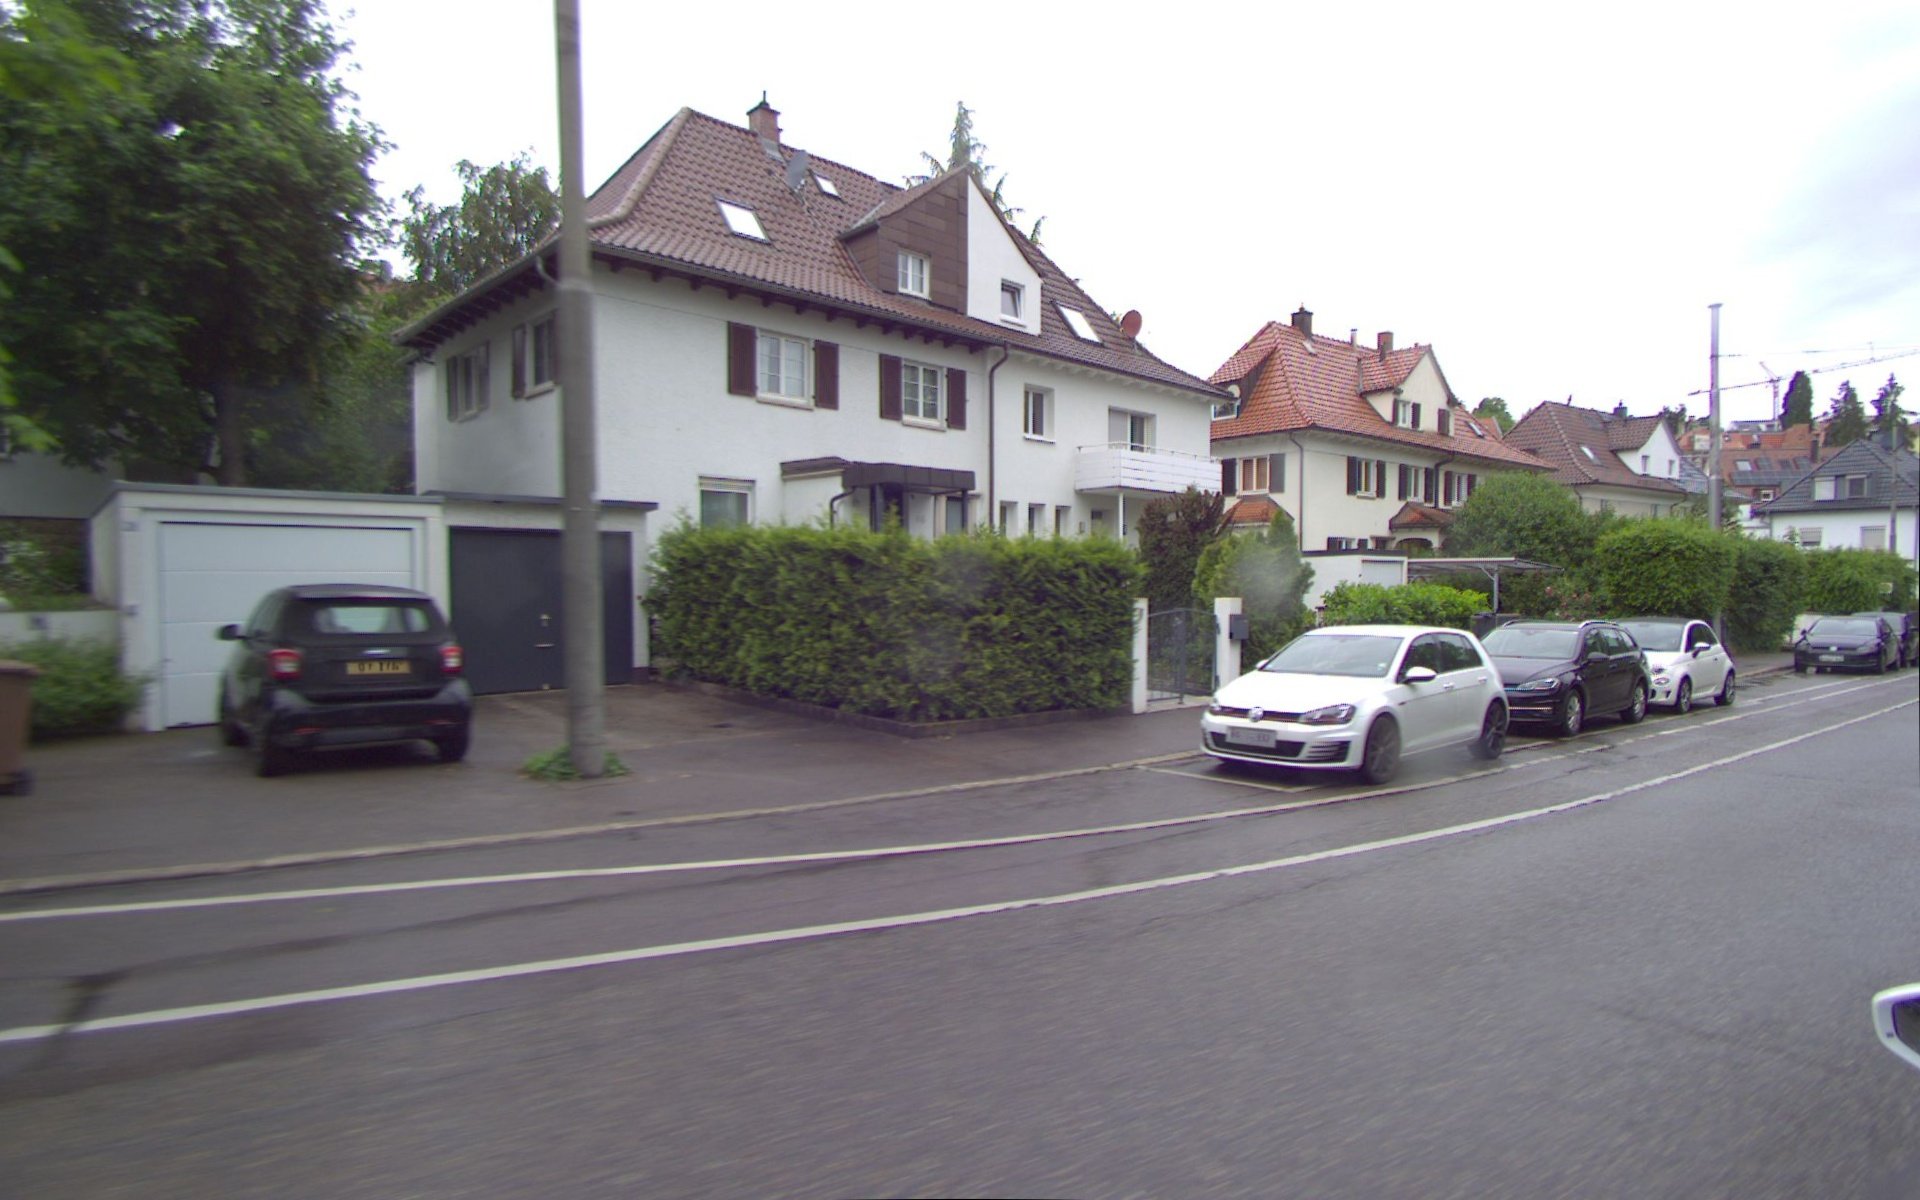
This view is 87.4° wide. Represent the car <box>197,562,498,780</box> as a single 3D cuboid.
[{"bbox_3d":[-5.961,0.524,9.625,1.810,1.540,3.304,1,3,-43],"label":"car"}]

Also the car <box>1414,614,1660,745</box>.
[{"bbox_3d":[8.411,1.010,14.470,4.387,1.545,1.683,1,1,-41],"label":"car"}]

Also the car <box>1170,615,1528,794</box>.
[{"bbox_3d":[4.256,0.930,10.665,4.248,1.441,1.718,0,1,-41],"label":"car"}]

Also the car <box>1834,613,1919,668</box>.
[{"bbox_3d":[26.917,1.137,29.389,3.003,1.473,1.507,0,0,-39],"label":"car"}]

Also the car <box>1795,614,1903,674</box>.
[{"bbox_3d":[23.718,1.108,26.749,4.183,1.437,1.673,0,0,-42],"label":"car"}]

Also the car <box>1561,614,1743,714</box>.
[{"bbox_3d":[12.081,1.026,17.463,3.681,1.488,1.683,1,1,-41],"label":"car"}]
